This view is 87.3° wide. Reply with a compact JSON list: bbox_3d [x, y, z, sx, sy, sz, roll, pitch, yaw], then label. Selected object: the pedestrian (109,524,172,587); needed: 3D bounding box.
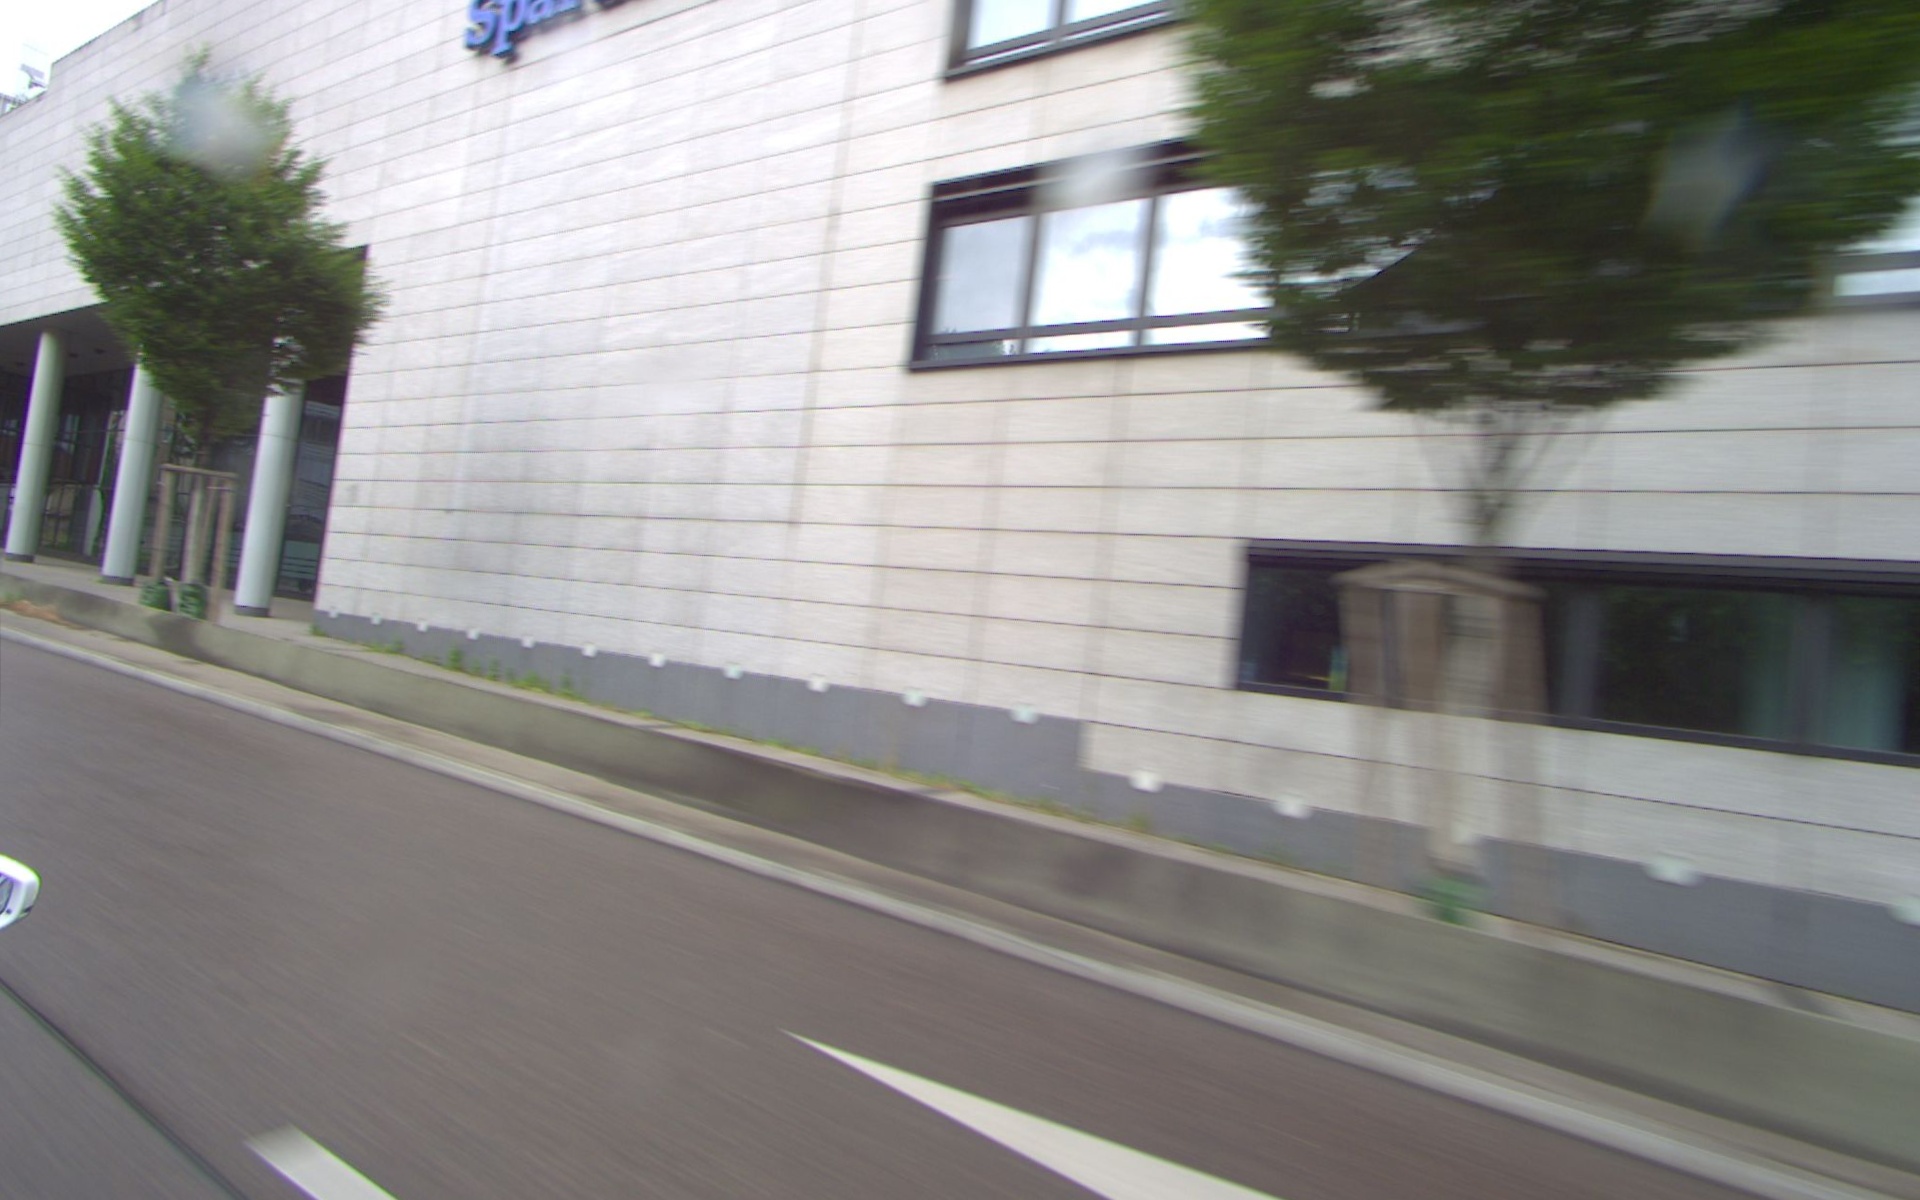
[{"bbox_3d":[-23.129,-1.254,28.393,0.827,1.604,0.972,7,-1,28],"label":"pedestrian"}]
